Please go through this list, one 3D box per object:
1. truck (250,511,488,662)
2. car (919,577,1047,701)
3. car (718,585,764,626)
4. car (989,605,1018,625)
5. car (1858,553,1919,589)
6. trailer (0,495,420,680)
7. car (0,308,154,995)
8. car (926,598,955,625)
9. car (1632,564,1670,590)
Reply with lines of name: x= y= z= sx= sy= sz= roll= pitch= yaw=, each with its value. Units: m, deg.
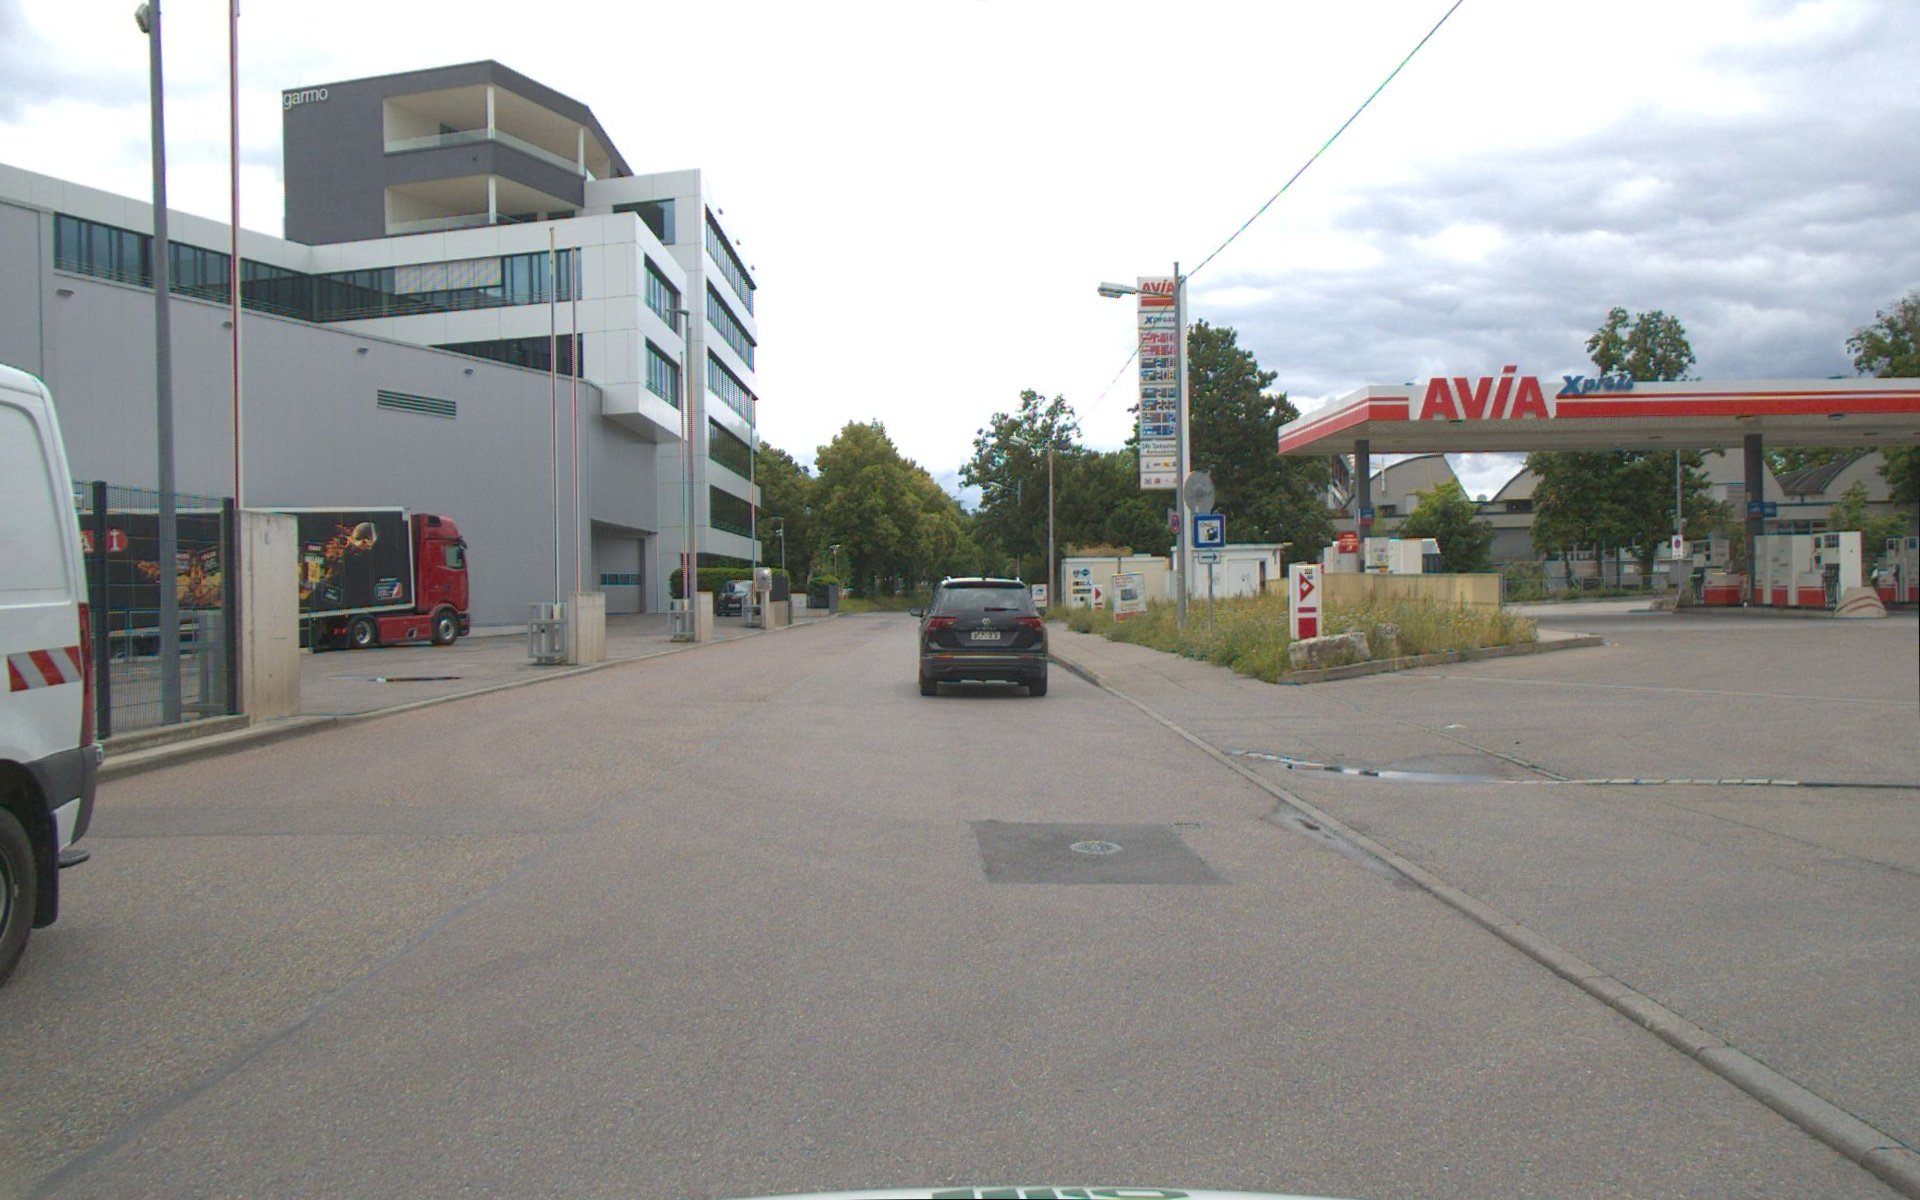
truck: x=-17.185 y=-0.394 z=48.694 sx=2.685 sy=4.101 sz=7.095 roll=-1 pitch=0 yaw=19
car: x=0.363 y=0.529 z=23.958 sx=1.703 sy=1.646 sz=3.642 roll=0 pitch=0 yaw=1
car: x=-9.732 y=0.244 z=73.672 sx=1.616 sy=1.792 sz=3.179 roll=0 pitch=0 yaw=1
car: x=4.046 y=1.339 z=153.226 sx=1.951 sy=1.818 sz=4.003 roll=0 pitch=0 yaw=13
car: x=46.139 y=-1.429 z=80.746 sx=1.922 sy=1.674 sz=4.652 roll=-2 pitch=0 yaw=-2
trailer: x=-19.219 y=-0.338 z=42.968 sx=2.685 sy=4.101 sz=12.621 roll=-1 pitch=0 yaw=19
car: x=-4.391 y=0.199 z=4.427 sx=1.953 sy=2.458 sz=5.255 roll=0 pitch=0 yaw=-1
car: x=-1.231 y=0.692 z=104.129 sx=1.801 sy=1.644 sz=3.999 roll=-1 pitch=0 yaw=-1
car: x=43.703 y=-1.459 z=104.716 sx=1.864 sy=1.547 sz=4.066 roll=-2 pitch=1 yaw=18
